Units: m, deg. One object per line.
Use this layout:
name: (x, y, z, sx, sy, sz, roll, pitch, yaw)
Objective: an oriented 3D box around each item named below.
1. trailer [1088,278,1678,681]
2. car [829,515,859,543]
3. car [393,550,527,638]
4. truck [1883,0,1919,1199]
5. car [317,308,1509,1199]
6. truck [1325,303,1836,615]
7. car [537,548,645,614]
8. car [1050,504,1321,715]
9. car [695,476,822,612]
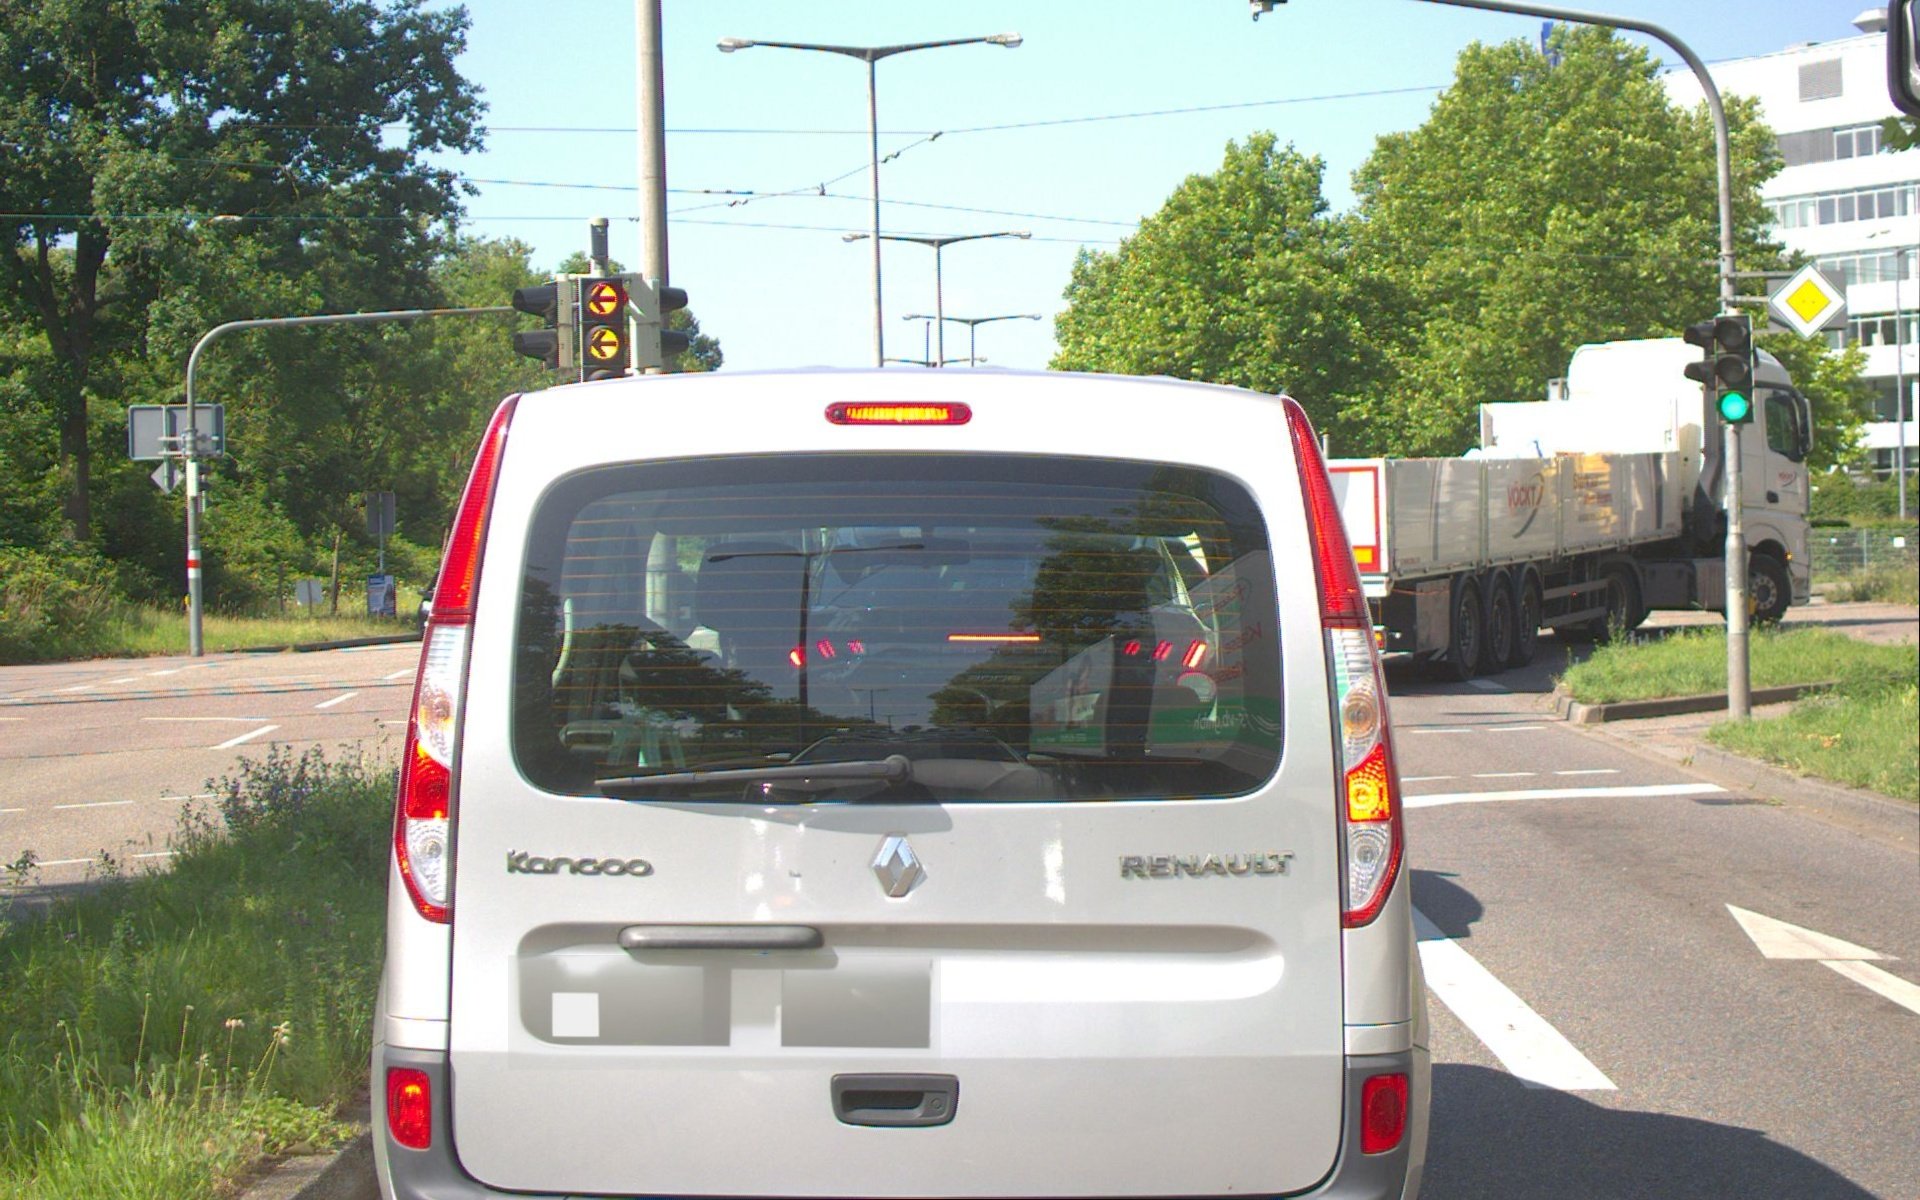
trailer: (5.030, -1.125, 37.210, 2.903, 3.610, 12.670, 1, 1, 23)
car: (-8.437, -5.149, 250.021, 1.888, 2.007, 4.000, 1, 1, 2)
car: (-9.795, -0.133, 67.585, 1.911, 1.636, 3.737, -1, 0, 2)
truck: (3.137, -0.542, 2.717, 2.729, 3.876, 8.722, 0, 1, 2)
car: (-0.097, 0.467, 7.210, 1.786, 1.831, 4.000, 1, 1, -1)
truck: (7.989, -1.655, 43.580, 2.918, 3.630, 7.171, 1, 1, 43)
car: (-9.035, -0.473, 84.440, 1.994, 1.535, 4.236, -1, 0, 2)
car: (1.778, 0.049, 28.407, 1.875, 1.586, 4.434, 1, 1, -1)
car: (-4.038, -1.117, 69.677, 1.994, 2.598, 5.133, -1, 0, 2)
